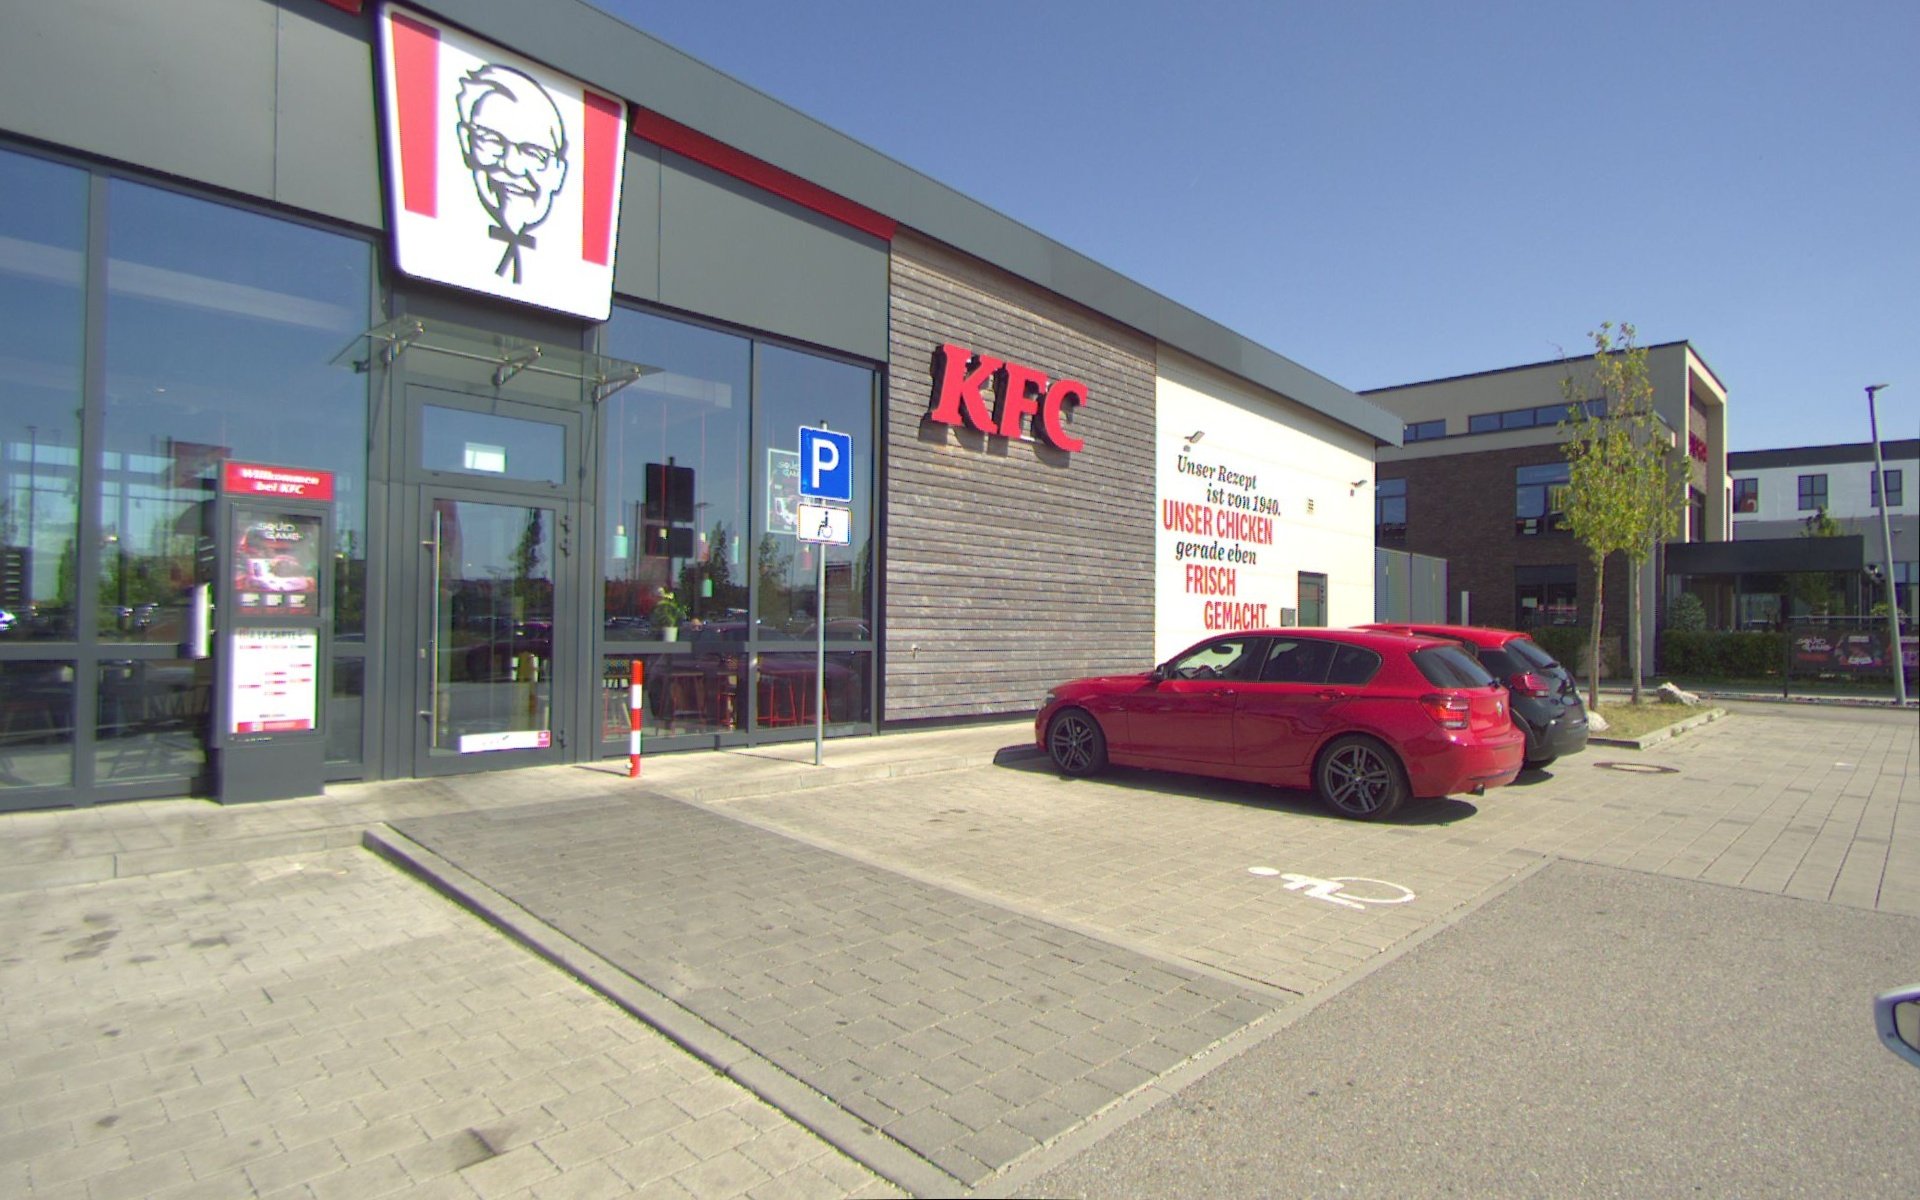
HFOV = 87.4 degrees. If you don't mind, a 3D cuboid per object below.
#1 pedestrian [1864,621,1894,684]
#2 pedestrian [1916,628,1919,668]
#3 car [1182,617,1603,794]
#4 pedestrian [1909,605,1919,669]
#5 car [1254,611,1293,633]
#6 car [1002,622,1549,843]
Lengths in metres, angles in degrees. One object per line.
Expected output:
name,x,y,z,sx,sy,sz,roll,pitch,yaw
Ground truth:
pedestrian,22.614,1.285,24.718,0.518,1.525,0.566,-1,-1,42
pedestrian,29.379,1.448,30.306,0.699,1.214,0.665,-1,-1,37
car,4.542,0.974,10.907,3.855,1.526,1.730,0,-1,44
pedestrian,23.122,0.891,24.077,0.518,1.525,0.566,-1,-1,42
car,23.930,1.669,76.632,1.619,1.587,3.668,-1,-1,38
car,2.586,0.947,8.941,4.339,1.432,1.731,0,-1,43
